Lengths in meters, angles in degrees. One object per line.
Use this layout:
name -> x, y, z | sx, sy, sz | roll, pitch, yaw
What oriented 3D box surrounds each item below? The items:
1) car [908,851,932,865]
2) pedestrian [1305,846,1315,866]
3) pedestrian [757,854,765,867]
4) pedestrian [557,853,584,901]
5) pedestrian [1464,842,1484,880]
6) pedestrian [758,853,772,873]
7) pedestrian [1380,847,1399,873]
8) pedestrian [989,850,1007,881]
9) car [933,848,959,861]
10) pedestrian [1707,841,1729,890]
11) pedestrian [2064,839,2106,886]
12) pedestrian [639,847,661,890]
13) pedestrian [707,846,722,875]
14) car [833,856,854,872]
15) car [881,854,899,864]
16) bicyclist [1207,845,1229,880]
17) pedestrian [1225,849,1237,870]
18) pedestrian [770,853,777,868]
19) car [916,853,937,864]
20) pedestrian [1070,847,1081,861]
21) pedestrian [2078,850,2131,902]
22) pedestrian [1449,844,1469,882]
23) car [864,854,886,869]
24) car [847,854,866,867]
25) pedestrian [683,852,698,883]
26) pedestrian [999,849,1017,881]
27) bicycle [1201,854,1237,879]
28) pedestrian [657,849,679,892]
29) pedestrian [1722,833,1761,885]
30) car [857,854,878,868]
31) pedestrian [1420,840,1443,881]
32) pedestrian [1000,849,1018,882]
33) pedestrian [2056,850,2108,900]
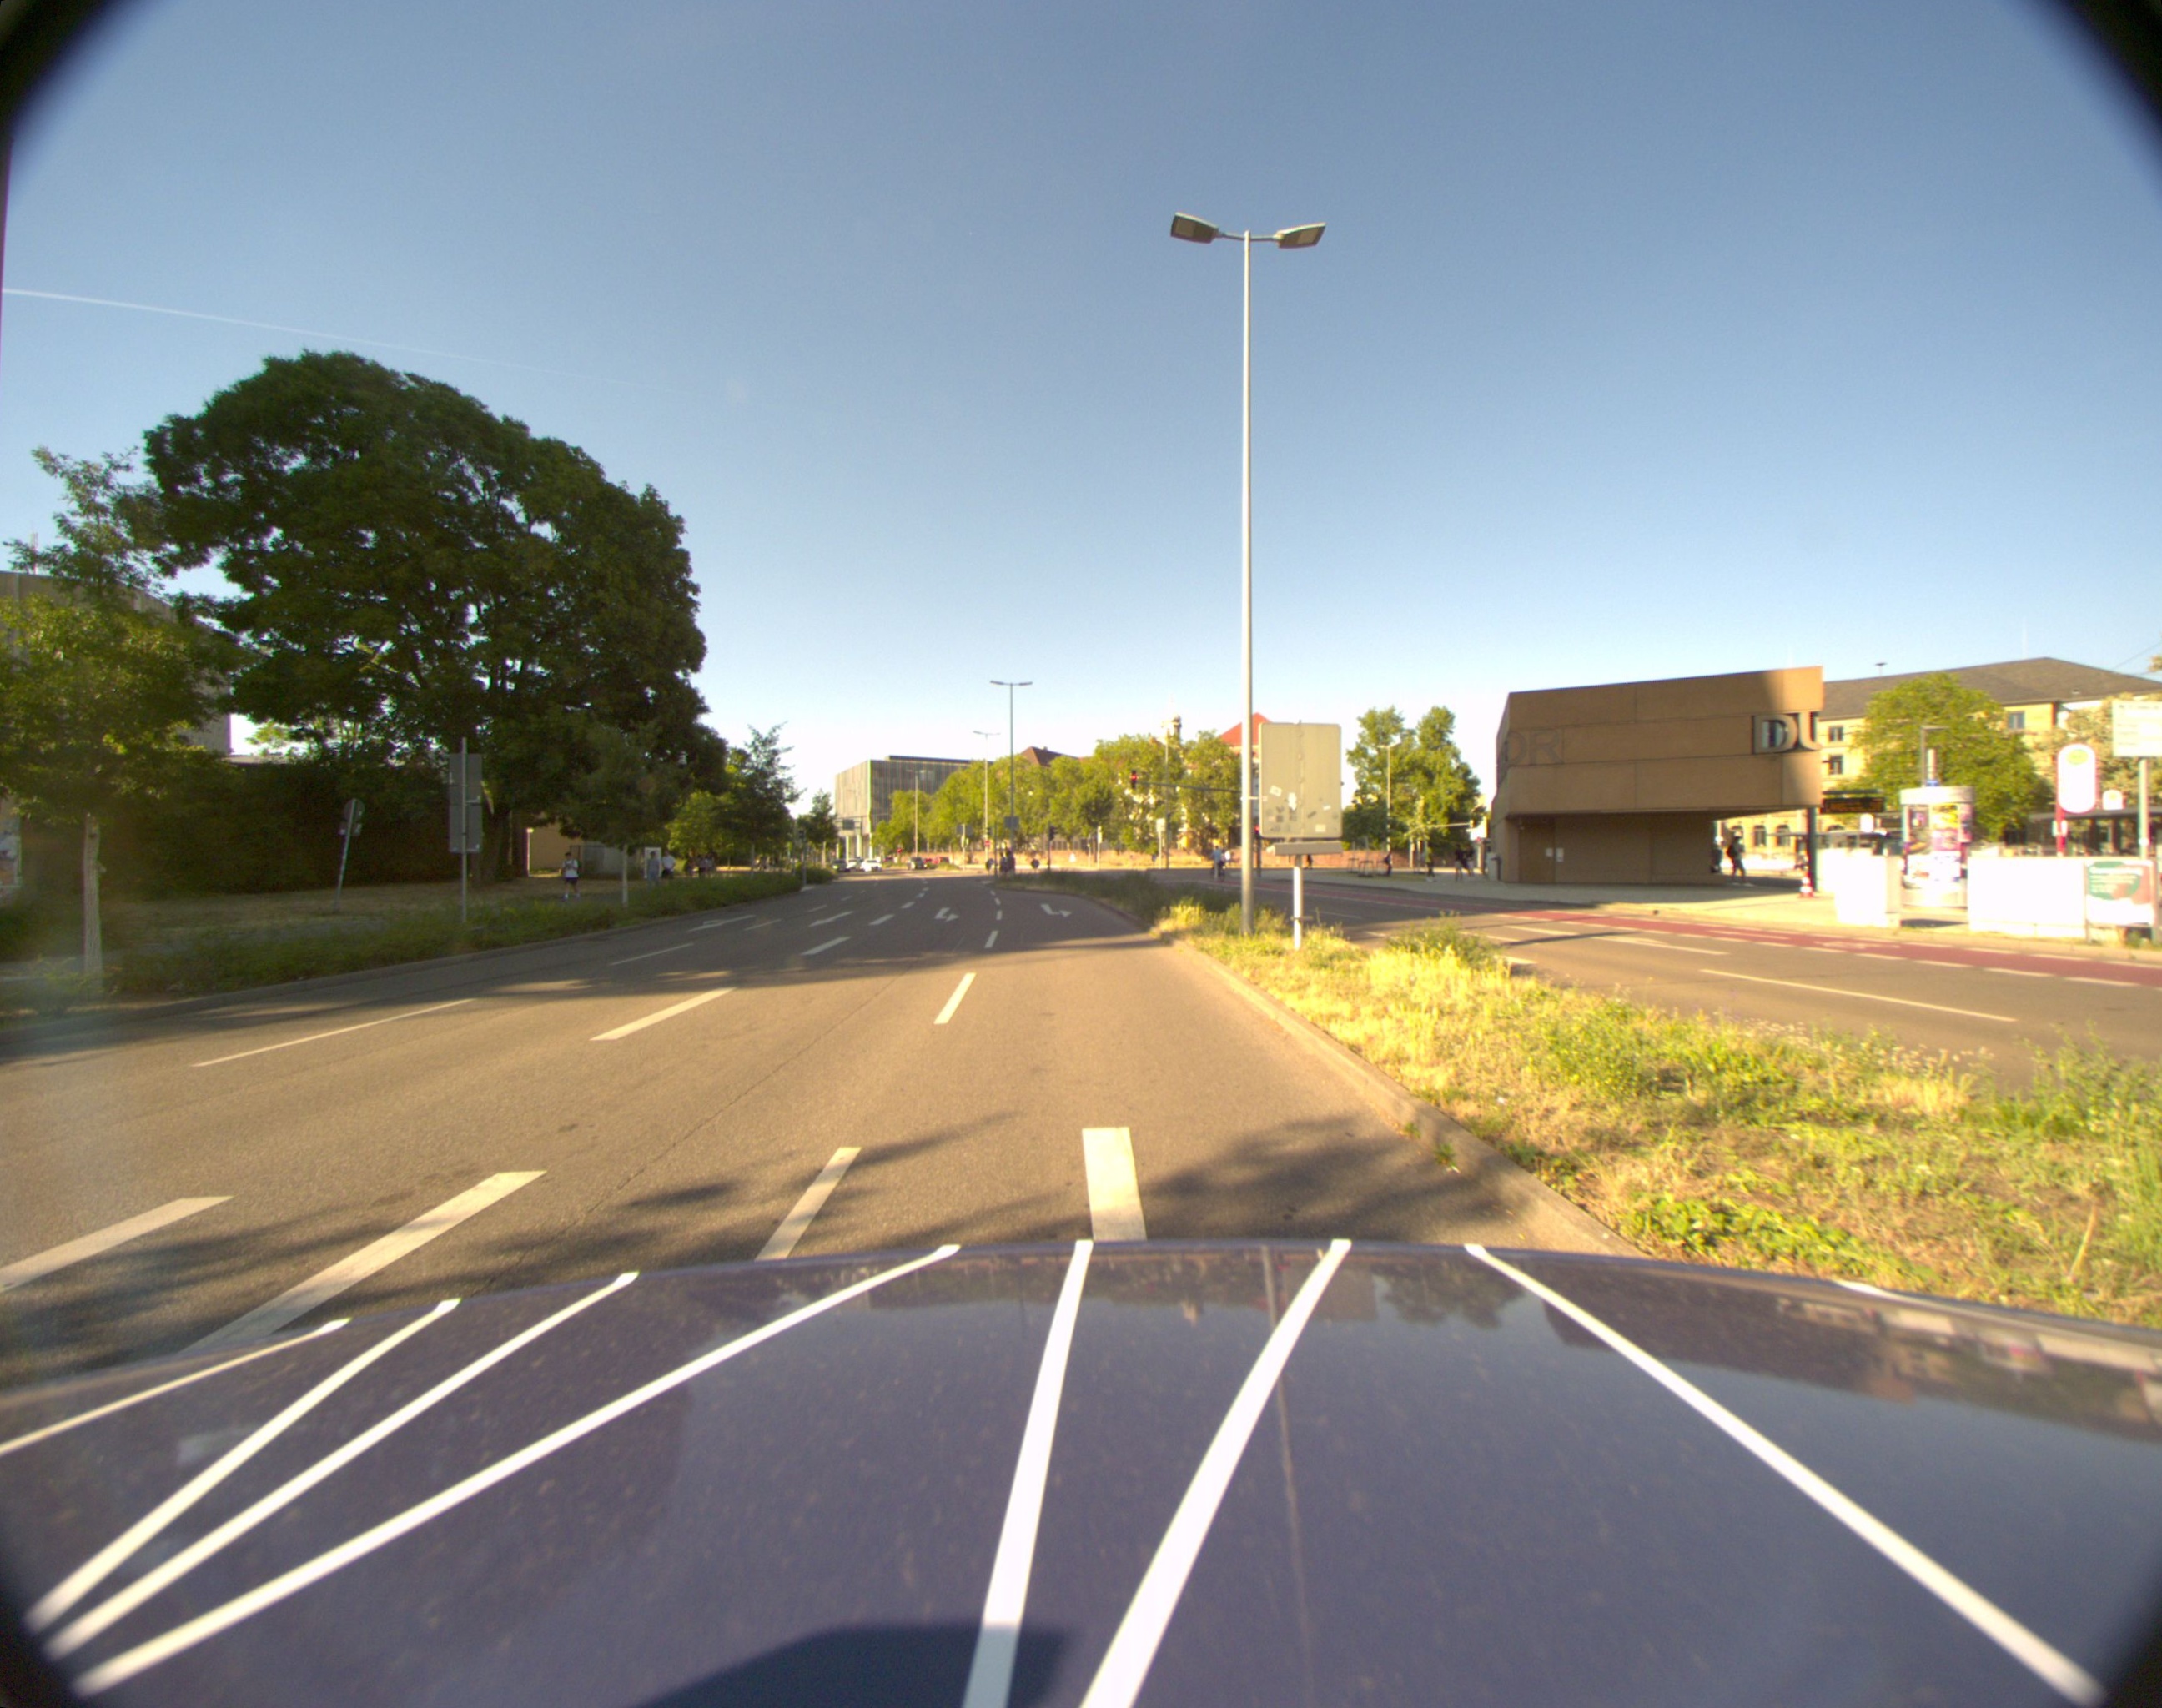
car -> -17.757, 0.458, 83.794 | 1.927, 1.510, 4.010 | 0, 0, -22
pedestrian -> 20.011, 0.167, 66.420 | 0.791, 1.644, 0.713 | 2, 4, 17
pedestrian -> -38.245, 0.756, 90.887 | 0.764, 1.534, 0.845 | 0, 1, -31
pedestrian -> -18.139, 0.793, 26.987 | 0.623, 1.689, 0.629 | 0, 1, -17
pedestrian -> 18.062, 0.345, 34.934 | 0.734, 1.720, 0.666 | -2, -1, 25
pedestrian -> -27.545, 0.754, 66.171 | 1.020, 1.739, 0.847 | 0, 1, -31
pedestrian -> 20.353, 0.393, 50.176 | 0.900, 1.675, 0.747 | -1, 0, -10
pedestrian -> -4.661, 0.636, 42.689 | 0.928, 1.731, 0.756 | 0, 1, -10
car -> -17.673, 0.086, 99.290 | 2.198, 1.576, 4.599 | -1, -1, -23
pedestrian -> 26.456, 0.493, 31.564 | 0.613, 2.001, 0.809 | -2, -1, 37
pedestrian -> 42.531, 0.360, 32.184 | 0.814, 1.970, 0.756 | 1, 0, 28
pedestrian -> -18.774, 0.634, 33.098 | 0.575, 1.858, 0.624 | 0, 1, 26
pedestrian -> -21.650, 0.392, 44.873 | 0.677, 1.694, 0.875 | -1, 1, -30
car -> -24.931, 1.022, 79.808 | 1.805, 1.510, 3.992 | 0, 0, -22
car -> -32.425, 0.791, 128.804 | 2.198, 1.674, 4.597 | -1, 0, -25
bicyclist -> 7.214, 0.424, 39.925 | 0.743, 1.822, 1.012 | -1, 2, -18
pedestrian -> 13.732, 0.474, 69.484 | 0.873, 1.884, 0.711 | 0, 4, -12
pedestrian -> -36.285, 0.743, 89.702 | 0.713, 1.703, 0.732 | -1, 1, -25
car -> -23.818, 0.670, 116.778 | 2.198, 1.576, 4.597 | -1, 0, -24
pedestrian -> -0.635, -0.017, 86.416 | 0.975, 1.528, 0.921 | -1, 1, -25
pedestrian -> 39.236, 0.832, 29.139 | 0.978, 1.970, 0.720 | 1, 0, 28
pedestrian -> 17.002, 0.419, 34.176 | 0.638, 1.678, 0.551 | -2, -1, 14
car -> -22.294, 0.813, 82.207 | 1.805, 1.510, 4.423 | 0, 0, -22
car -> -28.121, 0.779, 95.259 | 1.927, 1.510, 4.010 | 0, 0, -22
pedestrian -> -19.986, 0.694, 38.893 | 0.623, 1.565, 0.638 | -1, 1, -25
pedestrian -> -3.984, 0.586, 41.372 | 0.928, 1.731, 0.756 | -1, 1, -10
bicycle -> 7.212, 0.649, 39.968 | 0.743, 1.248, 2.552 | -1, 1, -18
pedestrian -> -18.046, 0.723, 33.197 | 0.575, 1.858, 0.624 | 0, 1, 26
pedestrian -> 25.460, 0.178, 29.313 | 0.978, 1.970, 0.720 | 1, 0, 26
car -> -25.067, 0.789, 88.990 | 1.927, 1.510, 4.010 | 0, 0, -22
pedestrian -> 16.043, 0.299, 34.795 | 0.718, 1.824, 0.639 | -1, -1, 1
pedestrian -> -3.841, 0.594, 40.577 | 0.928, 1.731, 0.756 | -1, 1, -10
pedestrian -> 40.267, 0.842, 30.581 | 0.994, 1.970, 0.830 | 1, 0, 28
